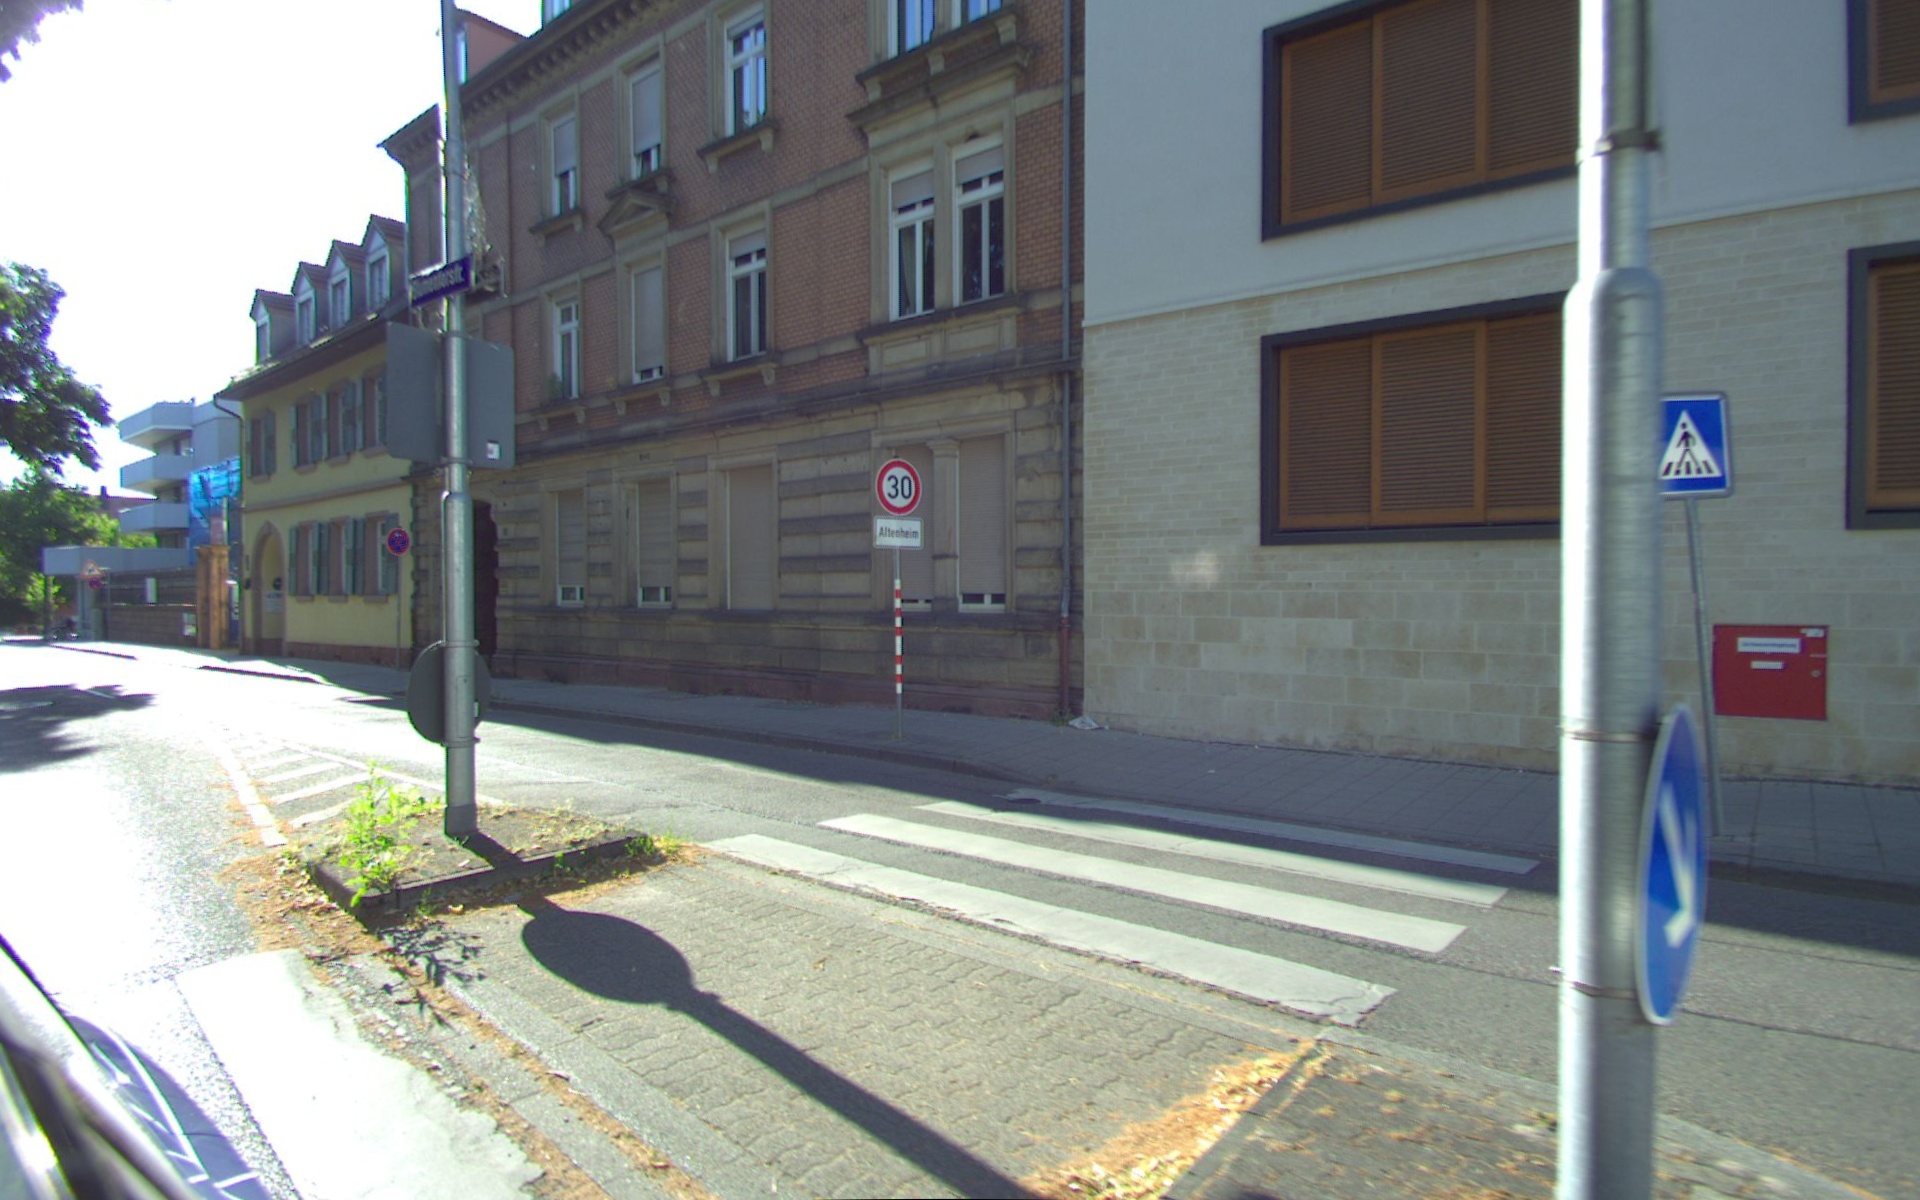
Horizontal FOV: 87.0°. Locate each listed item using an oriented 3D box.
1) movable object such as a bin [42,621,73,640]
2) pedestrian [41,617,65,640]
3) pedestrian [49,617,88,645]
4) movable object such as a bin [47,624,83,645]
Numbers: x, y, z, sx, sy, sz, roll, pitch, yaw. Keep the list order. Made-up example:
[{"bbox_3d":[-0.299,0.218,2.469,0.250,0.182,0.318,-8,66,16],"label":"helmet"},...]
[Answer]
[{"bbox_3d":[-48.136,1.645,53.986,0.838,0.935,1.026,-1,2,34],"label":"movable object such as a bin"},{"bbox_3d":[-48.241,1.513,53.847,0.838,1.194,0.734,-1,2,34],"label":"pedestrian"},{"bbox_3d":[-43.370,1.492,49.253,1.139,1.238,0.843,-2,2,-15],"label":"pedestrian"},{"bbox_3d":[-43.514,1.658,49.213,1.020,0.935,0.843,-2,2,-15],"label":"movable object such as a bin"}]
